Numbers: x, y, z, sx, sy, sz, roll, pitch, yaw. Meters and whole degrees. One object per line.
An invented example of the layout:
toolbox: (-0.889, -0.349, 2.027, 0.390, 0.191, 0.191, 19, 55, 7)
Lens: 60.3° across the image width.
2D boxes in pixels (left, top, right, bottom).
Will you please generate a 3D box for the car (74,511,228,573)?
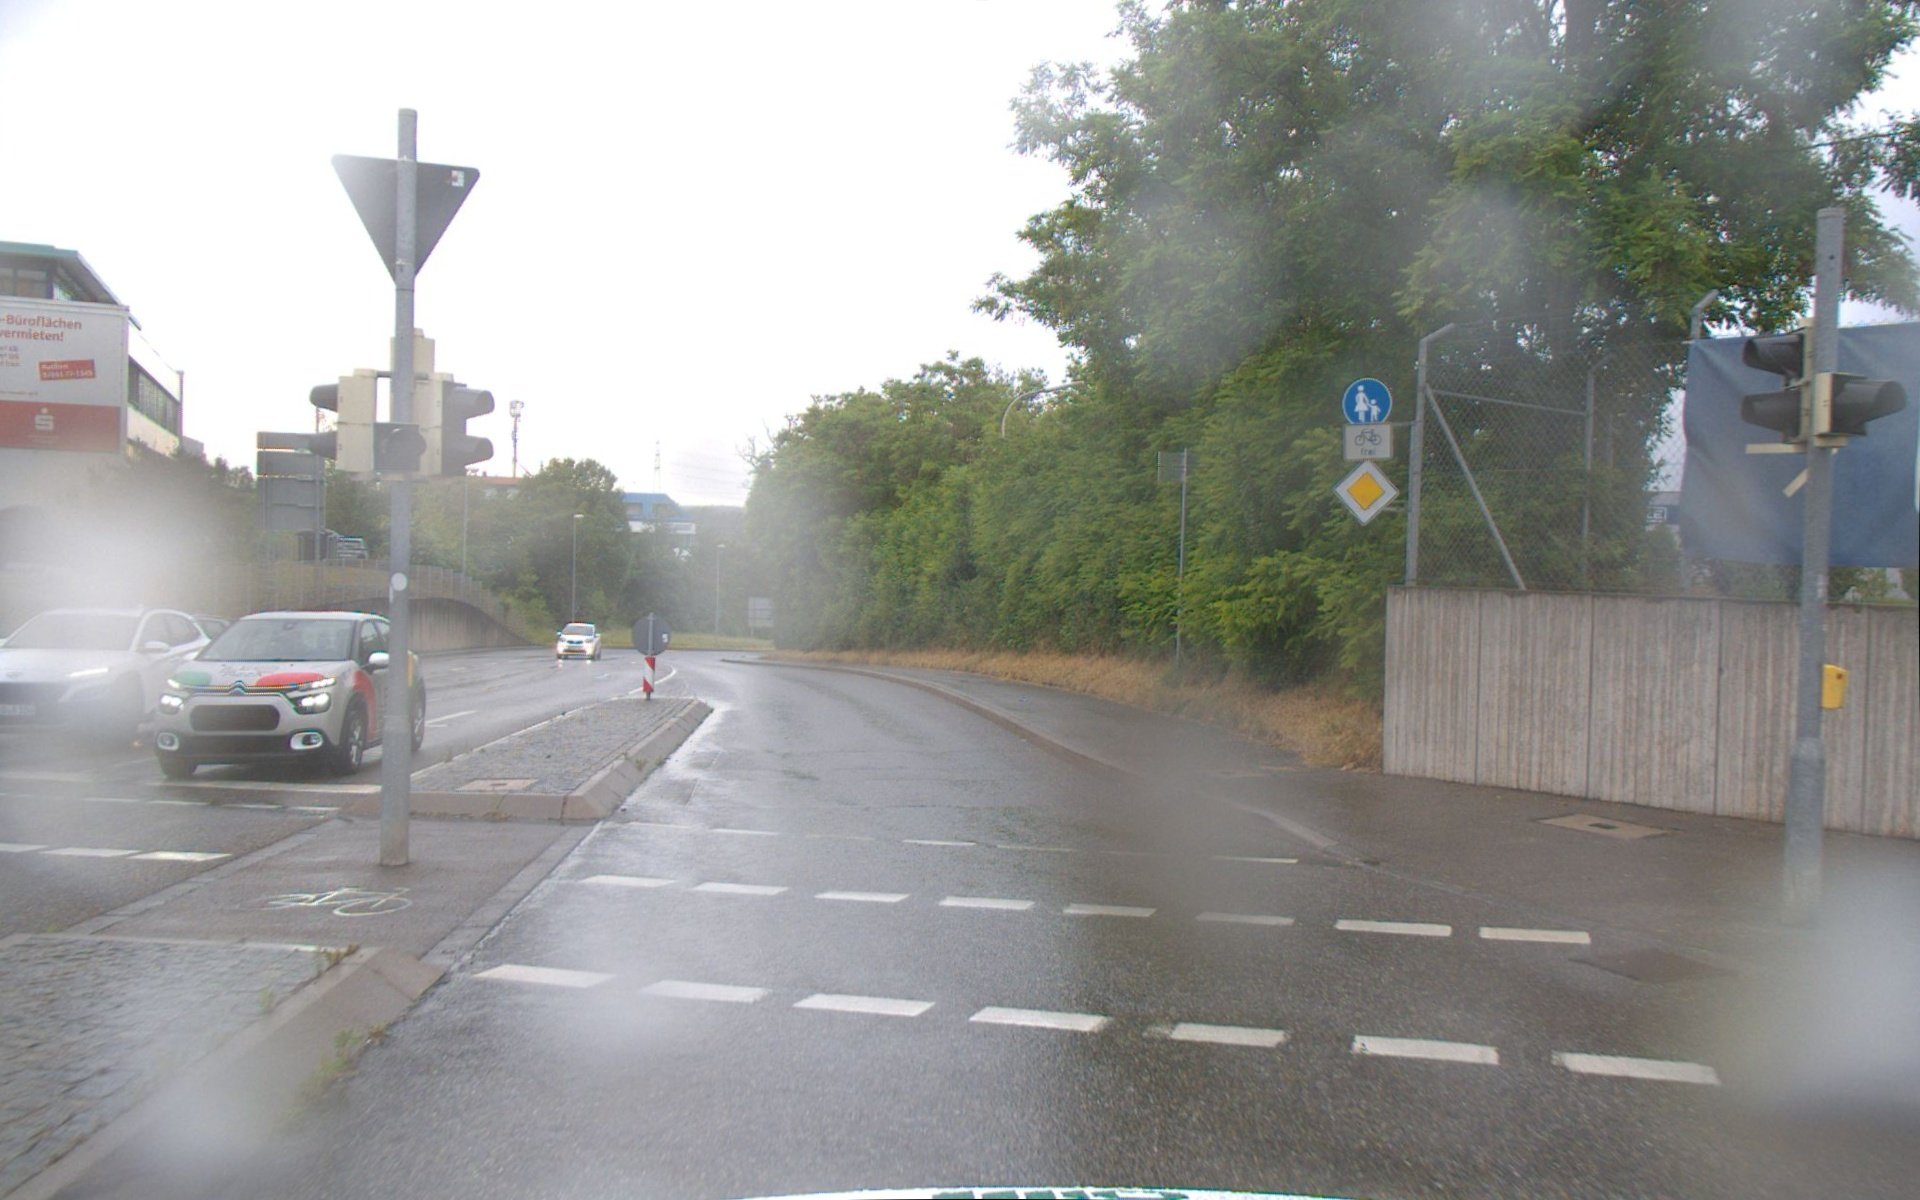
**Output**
car: (-23.167, -1.652, 47.359, 3.908, 1.614, 1.901, 1, -2, 25)

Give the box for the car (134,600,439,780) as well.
car: (-6.369, 0.777, 16.115, 1.629, 1.521, 3.995, 1, 0, -5)

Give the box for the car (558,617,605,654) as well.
car: (-16.151, 1.514, 70.668, 1.622, 1.454, 3.786, 1, 0, -8)

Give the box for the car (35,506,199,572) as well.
car: (-22.629, -1.633, 44.398, 3.908, 1.614, 1.901, 1, -2, 25)

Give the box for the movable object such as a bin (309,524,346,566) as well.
movable object such as a bin: (-23.618, -2.046, 61.818, 1.065, 1.462, 1.441, 2, -2, -14)

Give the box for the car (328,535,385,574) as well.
car: (-25.841, -1.925, 70.932, 1.796, 1.467, 3.985, 2, -1, -14)

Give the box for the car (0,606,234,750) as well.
car: (-10.225, 0.841, 19.687, 1.687, 1.521, 3.995, 1, 0, -5)

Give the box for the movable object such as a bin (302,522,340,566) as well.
movable object such as a bin: (-23.295, -2.036, 60.330, 1.065, 1.462, 1.441, 2, -2, -14)

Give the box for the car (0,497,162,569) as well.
car: (-22.287, -1.676, 41.446, 3.905, 1.614, 1.902, 1, -2, 21)

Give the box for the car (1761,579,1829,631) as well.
car: (27.688, 0.166, 54.809, 1.637, 1.634, 3.520, 1, 0, 33)
